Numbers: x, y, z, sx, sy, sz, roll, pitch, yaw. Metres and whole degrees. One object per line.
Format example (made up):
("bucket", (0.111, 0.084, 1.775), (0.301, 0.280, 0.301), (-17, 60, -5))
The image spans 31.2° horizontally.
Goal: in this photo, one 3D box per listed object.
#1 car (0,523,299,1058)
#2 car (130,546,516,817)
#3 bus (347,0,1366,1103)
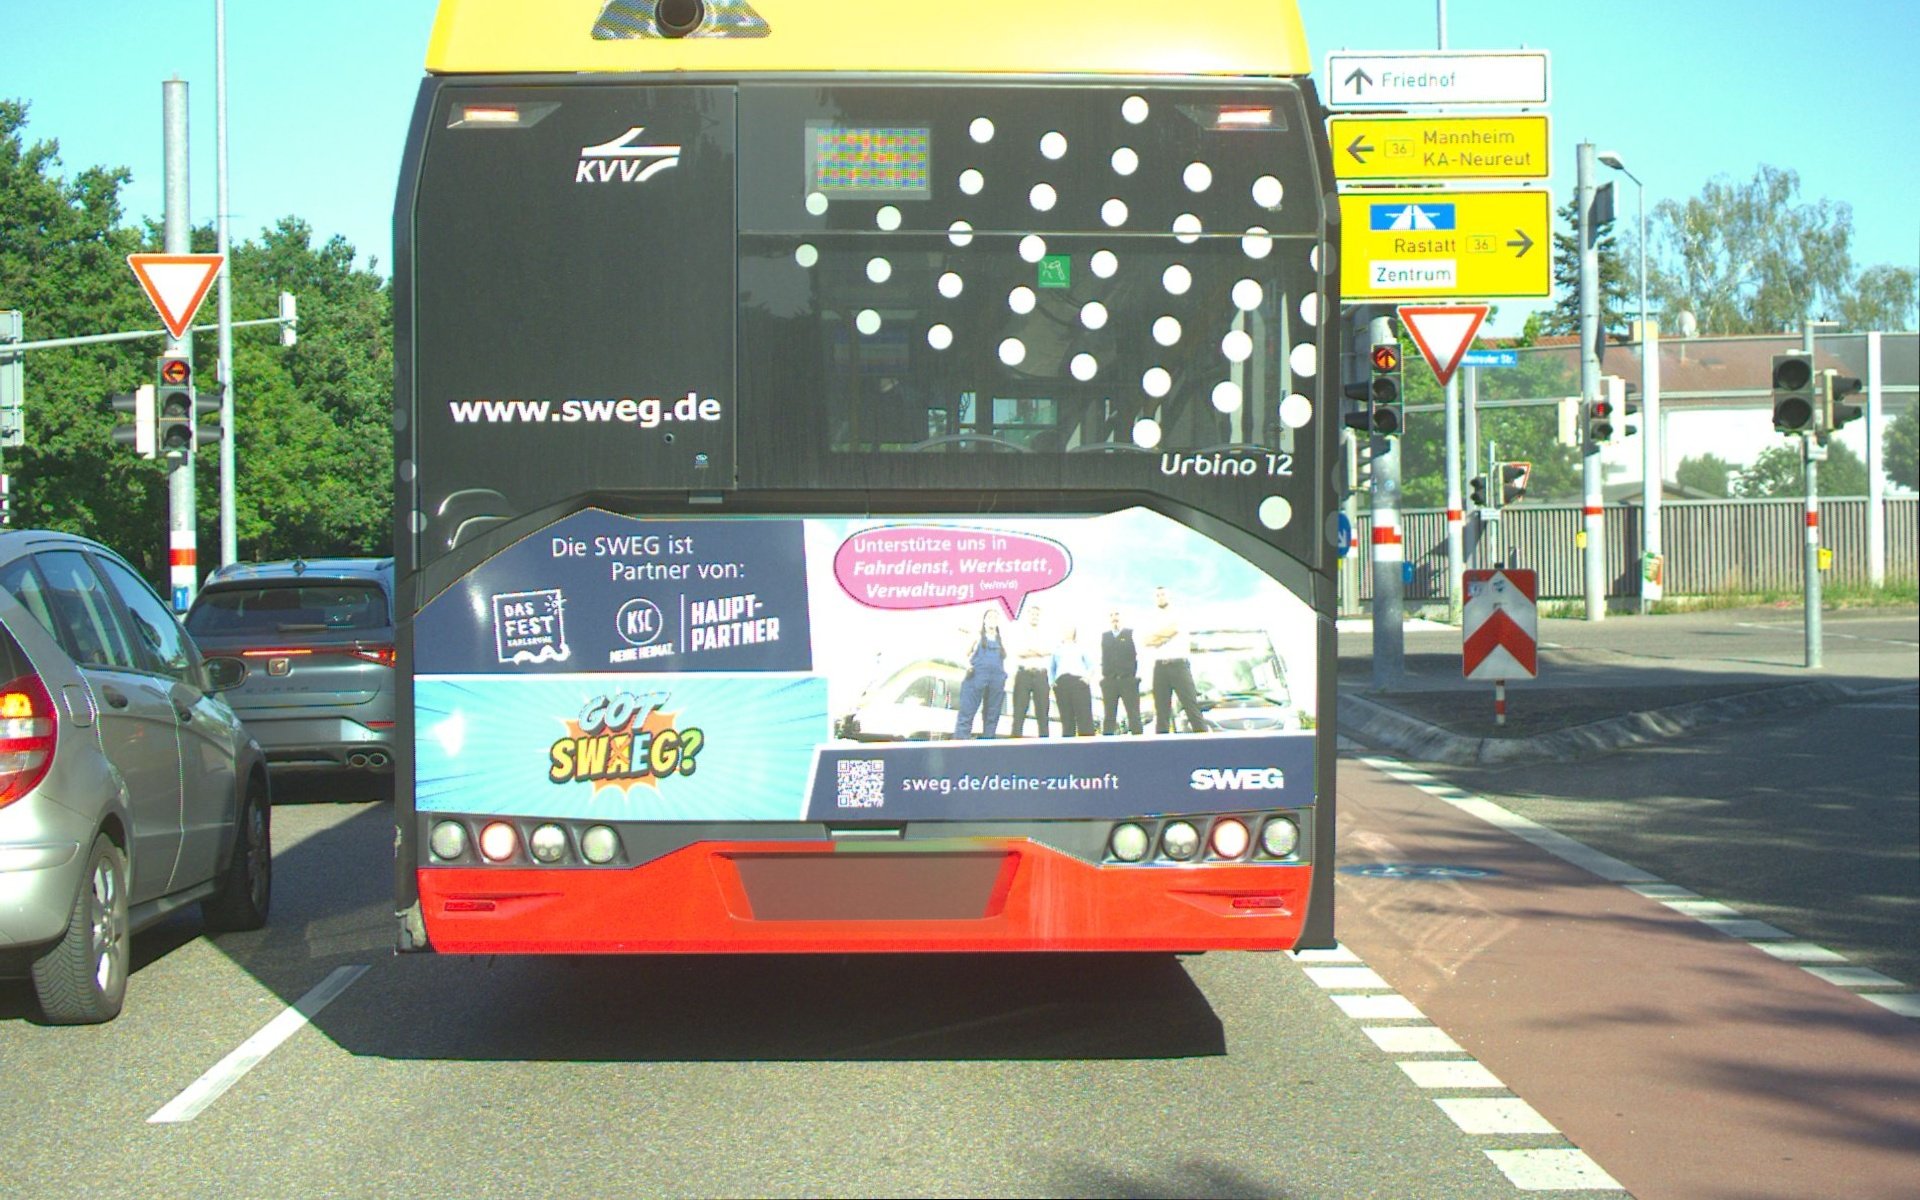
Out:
("car", (-3.603, 0.558, 12.196), (1.761, 1.584, 4.000), (-2, 1, -1))
("car", (-3.810, 0.427, 21.128), (1.692, 1.453, 3.751), (-2, 1, -1))
("bus", (-0.290, -0.405, 14.895), (2.642, 3.156, 11.861), (0, 1, 0))
